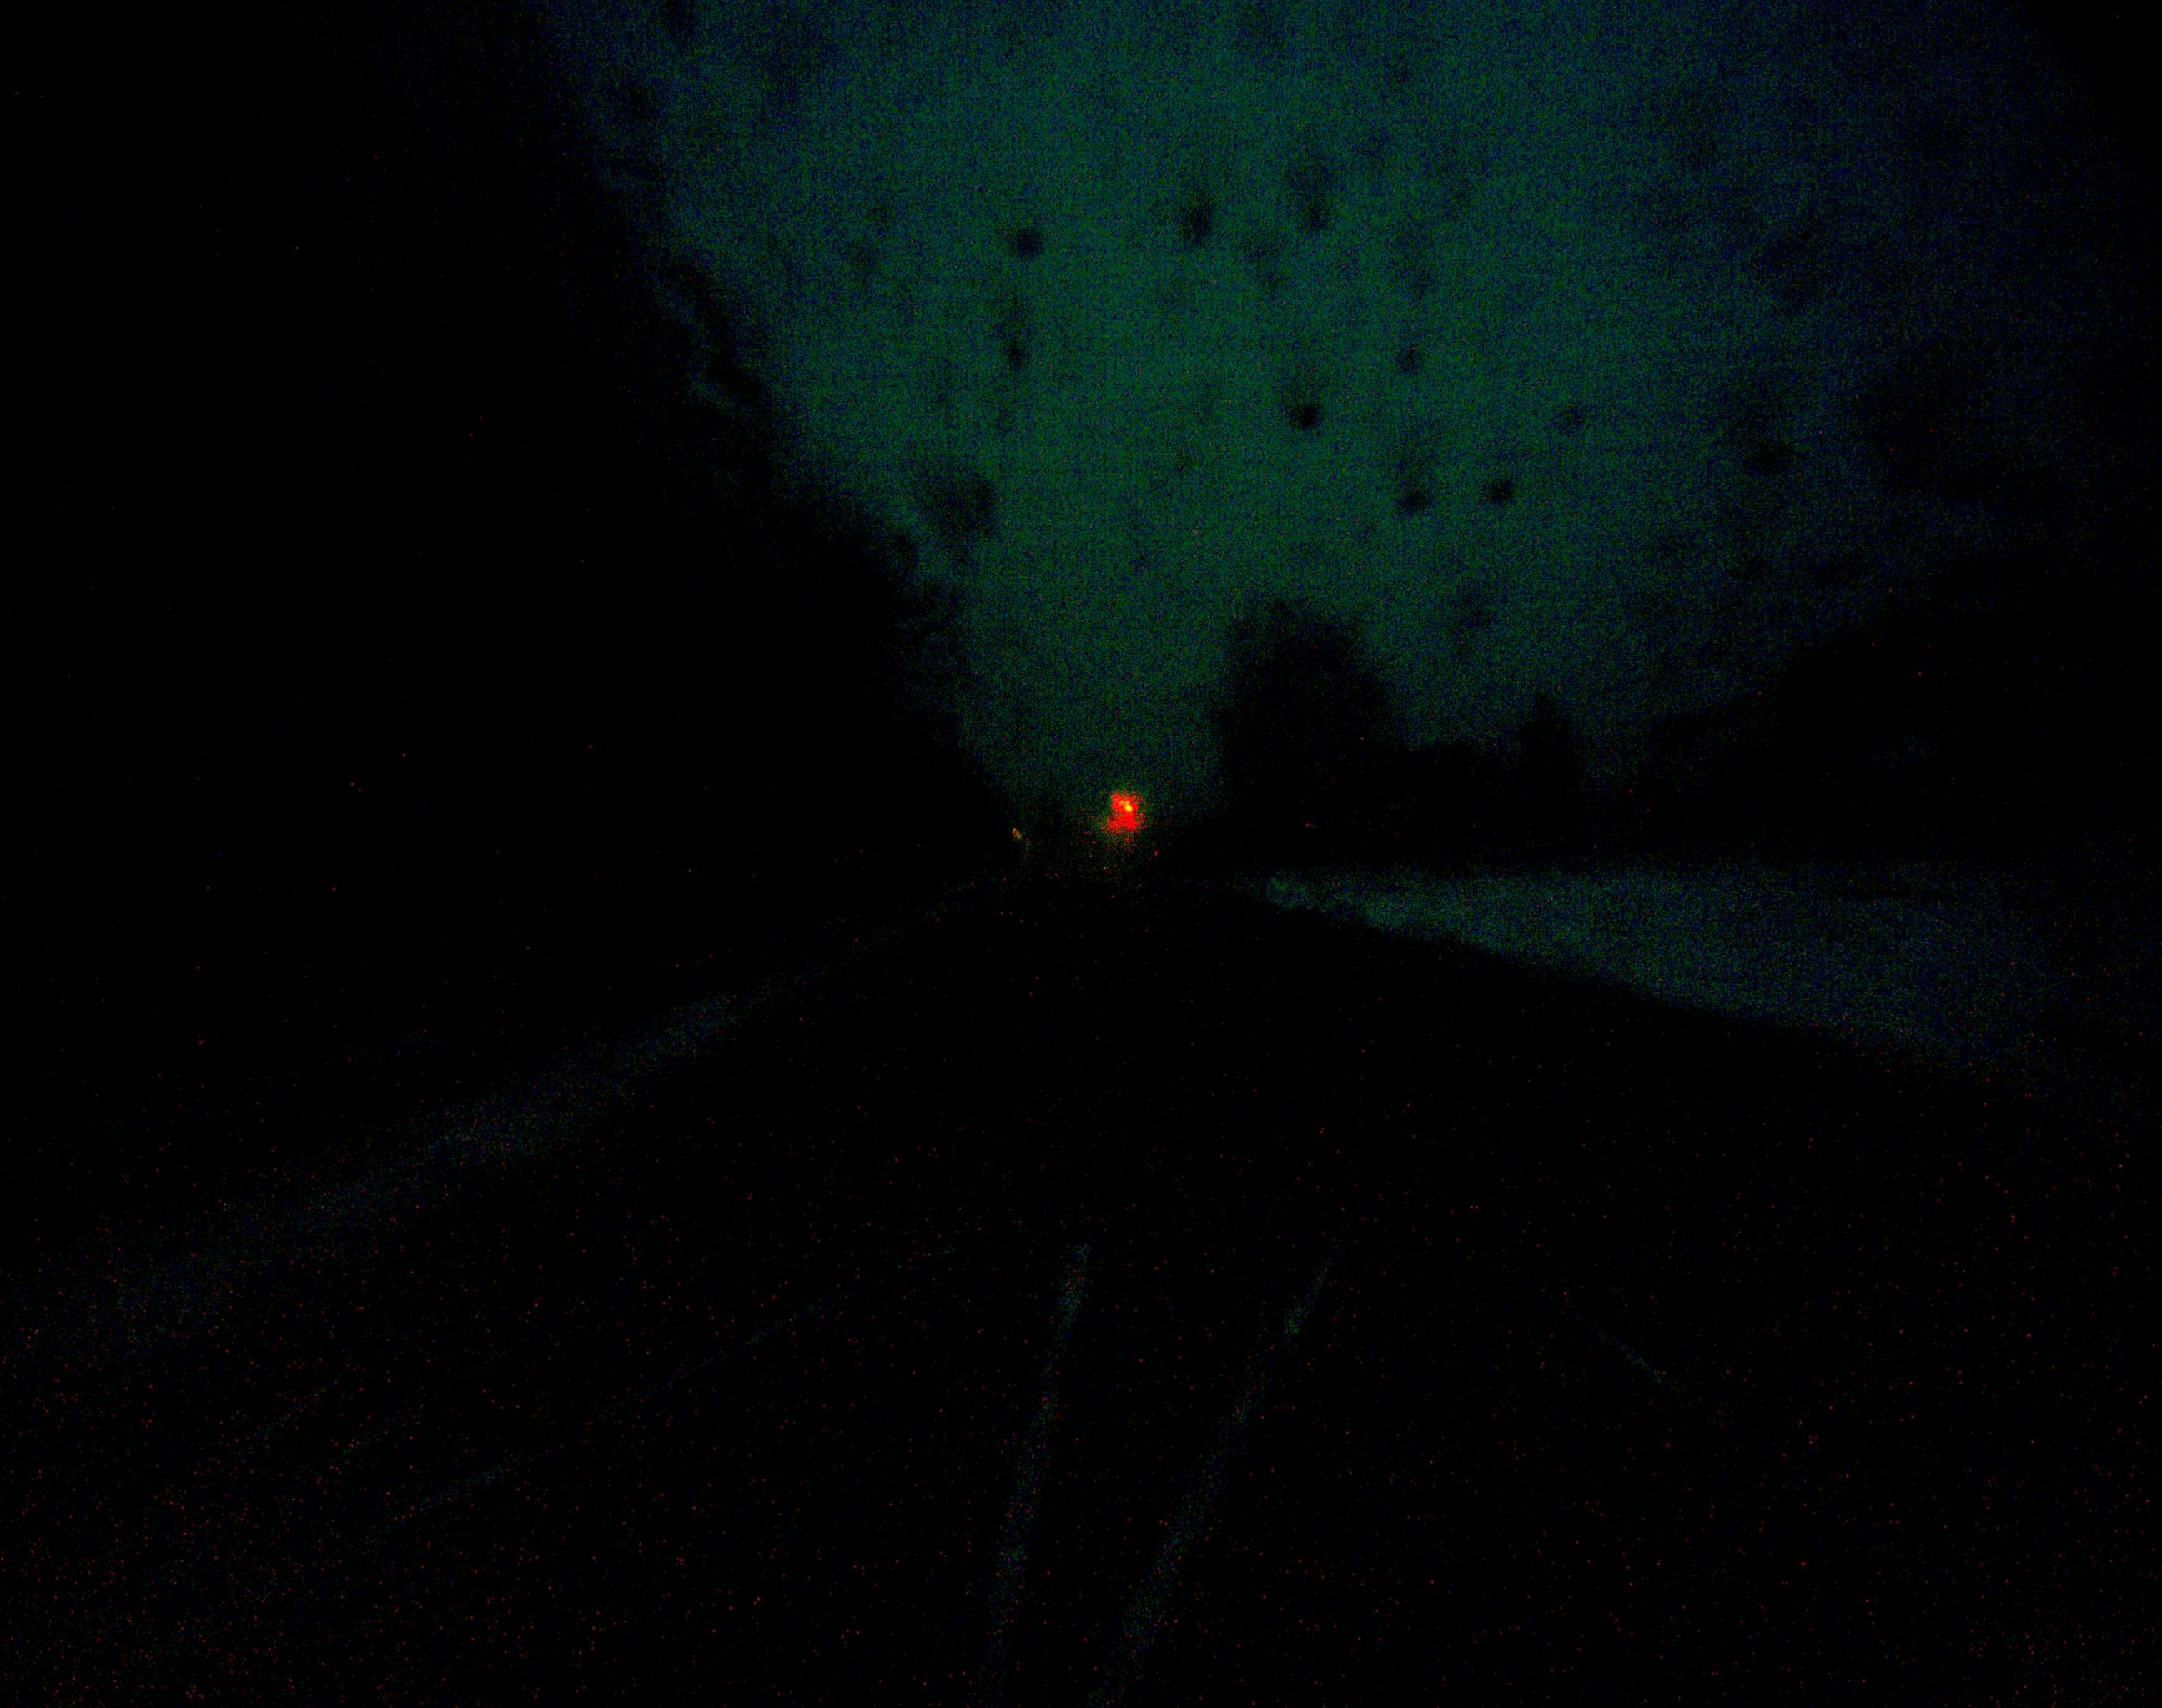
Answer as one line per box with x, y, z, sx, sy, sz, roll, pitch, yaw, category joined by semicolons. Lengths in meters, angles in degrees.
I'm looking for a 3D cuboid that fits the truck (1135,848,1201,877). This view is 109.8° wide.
7.512;0.754;65.675;5.281;2.288;1.998;2;-2;-13;truck

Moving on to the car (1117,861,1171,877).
6.244;1.489;75.393;4.905;1.476;2.122;2;-2;-13;car

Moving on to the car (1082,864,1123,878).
2.691;2.144;94.210;4.547;1.556;2.108;2;-3;-20;car
